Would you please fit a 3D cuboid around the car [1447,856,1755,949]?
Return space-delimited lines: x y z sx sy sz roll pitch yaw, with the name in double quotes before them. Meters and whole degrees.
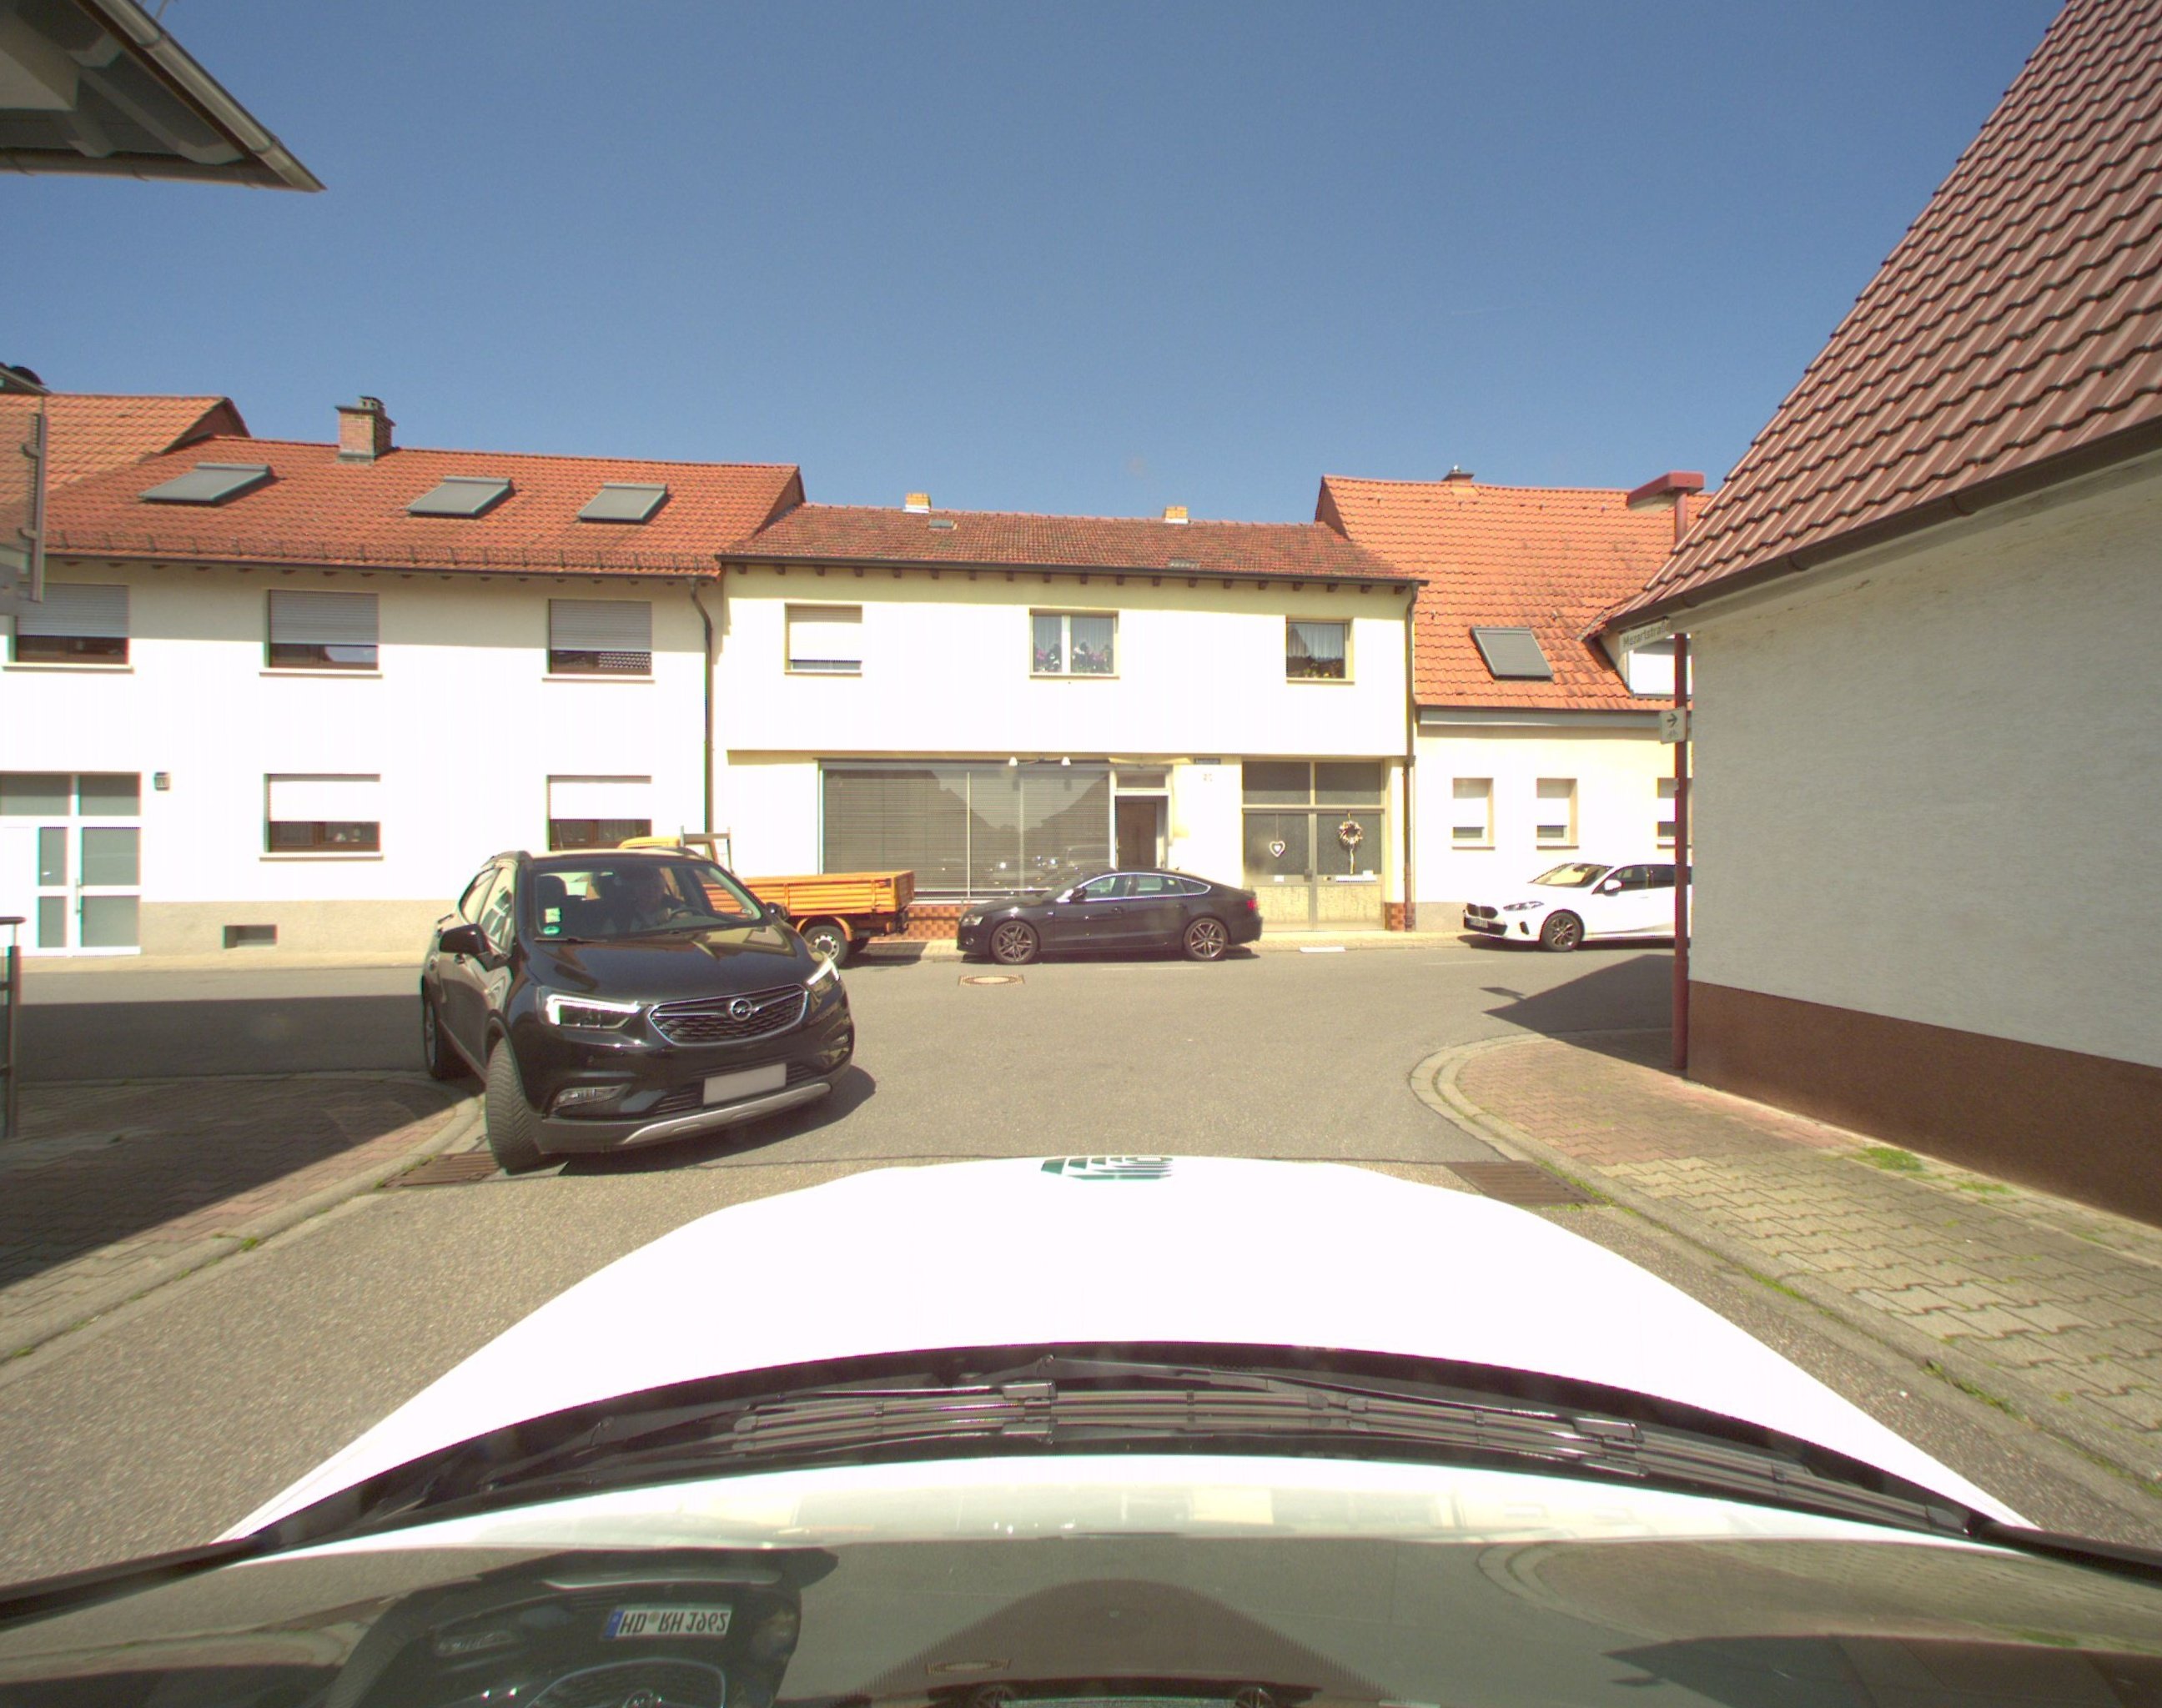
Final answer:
"car" 8.647 0.774 13.756 4.194 1.454 1.785 0 -1 -5

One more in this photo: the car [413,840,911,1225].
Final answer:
"car" -3.104 0.751 5.518 1.773 1.583 4.227 -2 1 -45

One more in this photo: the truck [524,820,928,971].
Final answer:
"truck" -4.978 0.567 12.180 5.055 2.014 2.186 0 -1 -5

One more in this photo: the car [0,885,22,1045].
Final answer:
"car" -11.125 0.976 5.990 3.916 1.368 1.633 0 1 -11

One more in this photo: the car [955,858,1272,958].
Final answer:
"car" 0.425 0.817 12.697 4.611 1.394 1.923 0 -3 -7
